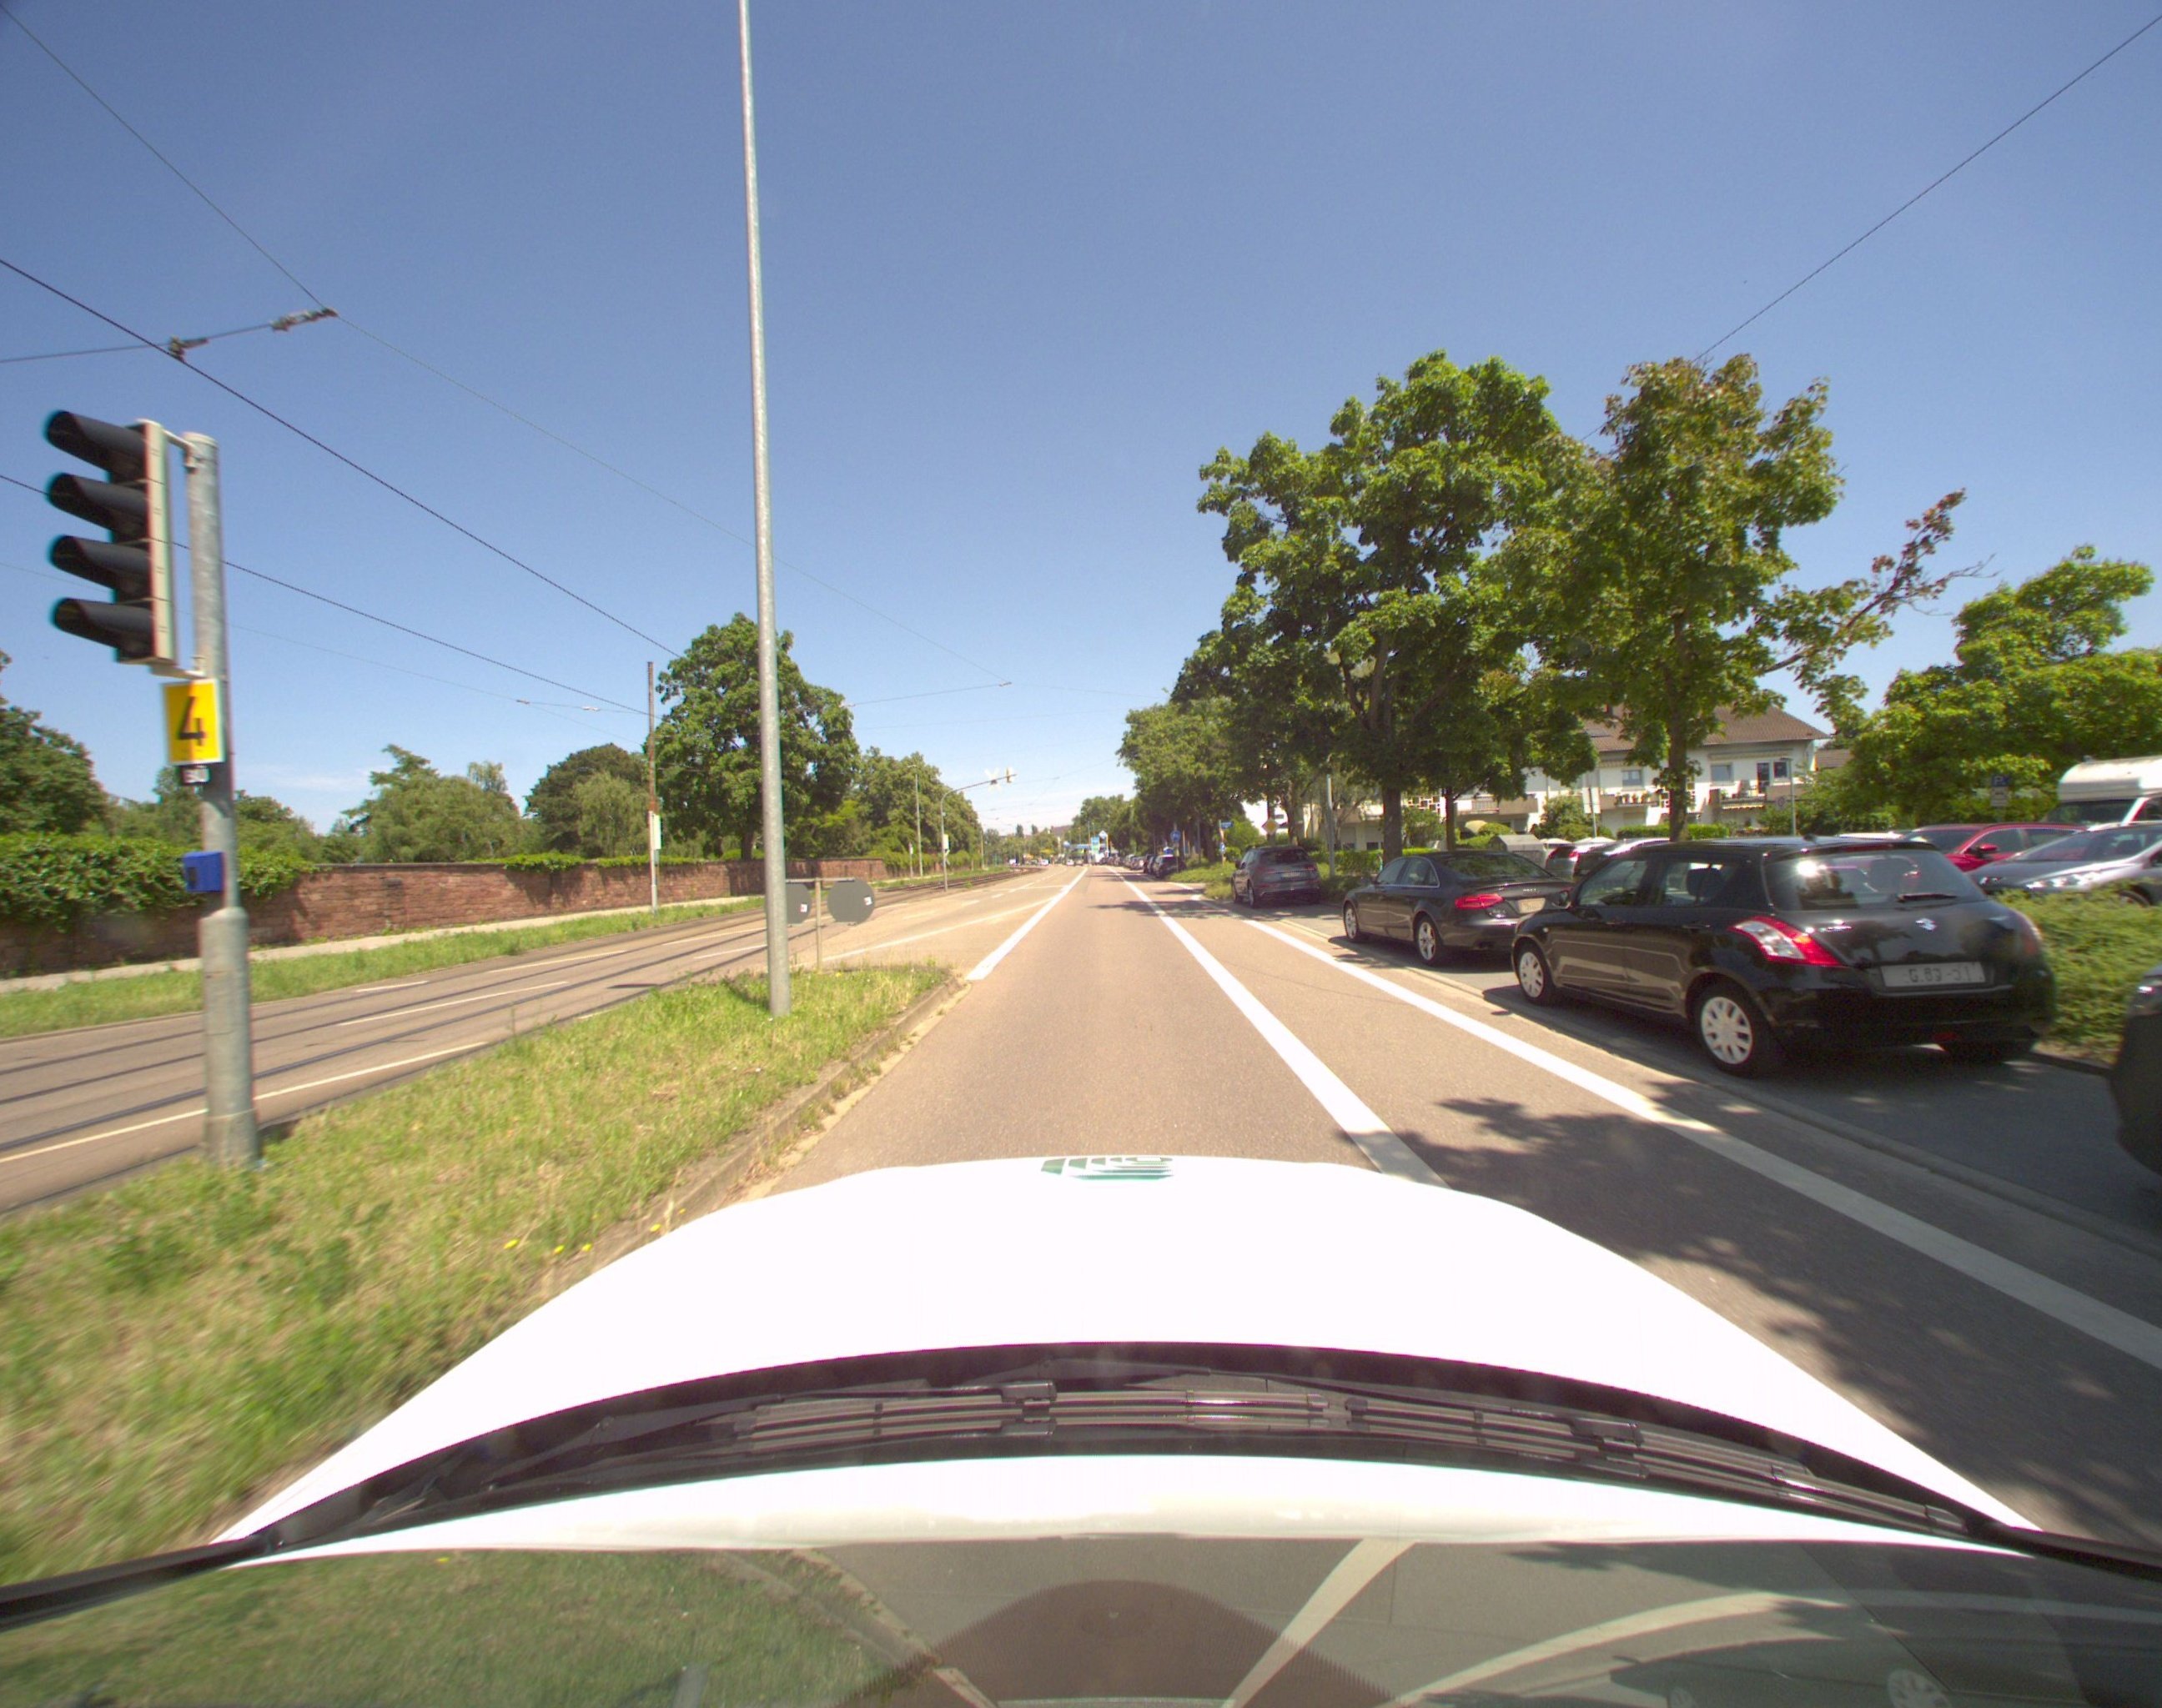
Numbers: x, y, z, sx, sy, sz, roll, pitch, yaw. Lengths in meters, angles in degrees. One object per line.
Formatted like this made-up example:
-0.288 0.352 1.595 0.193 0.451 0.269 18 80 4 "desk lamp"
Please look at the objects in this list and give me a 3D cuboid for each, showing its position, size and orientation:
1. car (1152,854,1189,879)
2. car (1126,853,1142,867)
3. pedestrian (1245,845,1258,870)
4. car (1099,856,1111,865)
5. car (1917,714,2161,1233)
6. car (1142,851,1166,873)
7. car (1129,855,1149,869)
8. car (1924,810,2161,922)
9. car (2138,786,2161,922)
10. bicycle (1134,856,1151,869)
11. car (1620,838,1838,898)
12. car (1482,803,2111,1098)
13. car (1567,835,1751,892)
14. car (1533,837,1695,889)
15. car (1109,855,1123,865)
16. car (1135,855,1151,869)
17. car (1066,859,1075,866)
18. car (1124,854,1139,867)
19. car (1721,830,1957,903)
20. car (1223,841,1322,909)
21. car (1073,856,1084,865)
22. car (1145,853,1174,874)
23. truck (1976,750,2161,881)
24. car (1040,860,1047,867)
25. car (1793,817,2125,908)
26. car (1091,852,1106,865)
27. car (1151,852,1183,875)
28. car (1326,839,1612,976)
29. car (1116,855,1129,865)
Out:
6.018 0.828 55.159 1.835 1.436 4.822 -5 0 -1 "car"
7.487 0.857 114.666 1.835 1.794 4.352 -5 0 0 "car"
12.005 0.247 57.335 0.746 1.722 0.632 -2 -1 -5 "pedestrian"
4.811 1.248 164.810 1.755 1.630 4.312 -5 0 -8 "car"
4.753 0.369 1.052 1.989 1.878 5.280 -5 0 3 "car"
6.462 0.696 72.762 1.833 1.706 4.629 -5 0 2 "car"
7.033 0.944 99.688 1.836 1.529 4.963 -5 0 -1 "car"
15.154 0.155 11.838 4.009 1.491 1.769 0 0 -1 "car"
15.328 -0.013 8.998 4.674 1.644 1.955 0 0 2 "car"
6.956 0.972 92.640 1.765 1.228 0.684 -7 -1 5 "bicycle"
15.525 0.324 19.673 3.845 1.358 1.771 0 0 2 "car"
4.986 0.544 6.537 1.705 1.540 3.843 -5 0 3 "car"
15.798 0.261 22.388 3.849 1.489 1.769 0 0 -1 "car"
16.247 0.266 24.954 3.849 1.489 1.769 0 0 -1 "car"
6.385 1.128 148.902 1.706 1.562 4.311 -5 0 -8 "car"
7.151 0.909 94.678 1.513 1.529 3.817 -5 0 1 "car"
-2.753 2.233 204.965 1.754 1.630 4.314 -5 0 -6 "car"
7.473 0.900 120.851 1.834 1.694 4.780 -5 0 2 "car"
15.593 0.249 16.894 3.322 1.428 1.683 0 0 2 "car"
5.400 0.584 23.520 1.706 1.632 4.709 -5 -1 1 "car"
-0.493 1.364 165.228 1.754 1.630 4.313 -5 0 -7 "car"
6.426 0.728 67.125 1.835 1.529 4.351 -5 0 -1 "car"
28.244 -1.118 21.259 6.924 3.085 2.424 -4 0 0 "truck"
-11.761 2.968 253.124 1.755 1.874 4.312 -5 0 -8 "car"
15.303 0.145 14.360 4.009 1.491 1.769 0 0 -1 "car"
3.639 0.991 174.942 2.001 2.456 6.090 -5 0 -9 "car"
6.458 0.704 61.556 1.836 1.529 4.203 -5 0 -2 "car"
5.130 0.607 11.622 1.707 1.418 4.707 -5 0 -1 "car"
7.019 1.055 137.714 1.703 1.492 5.033 -5 0 -3 "car"
